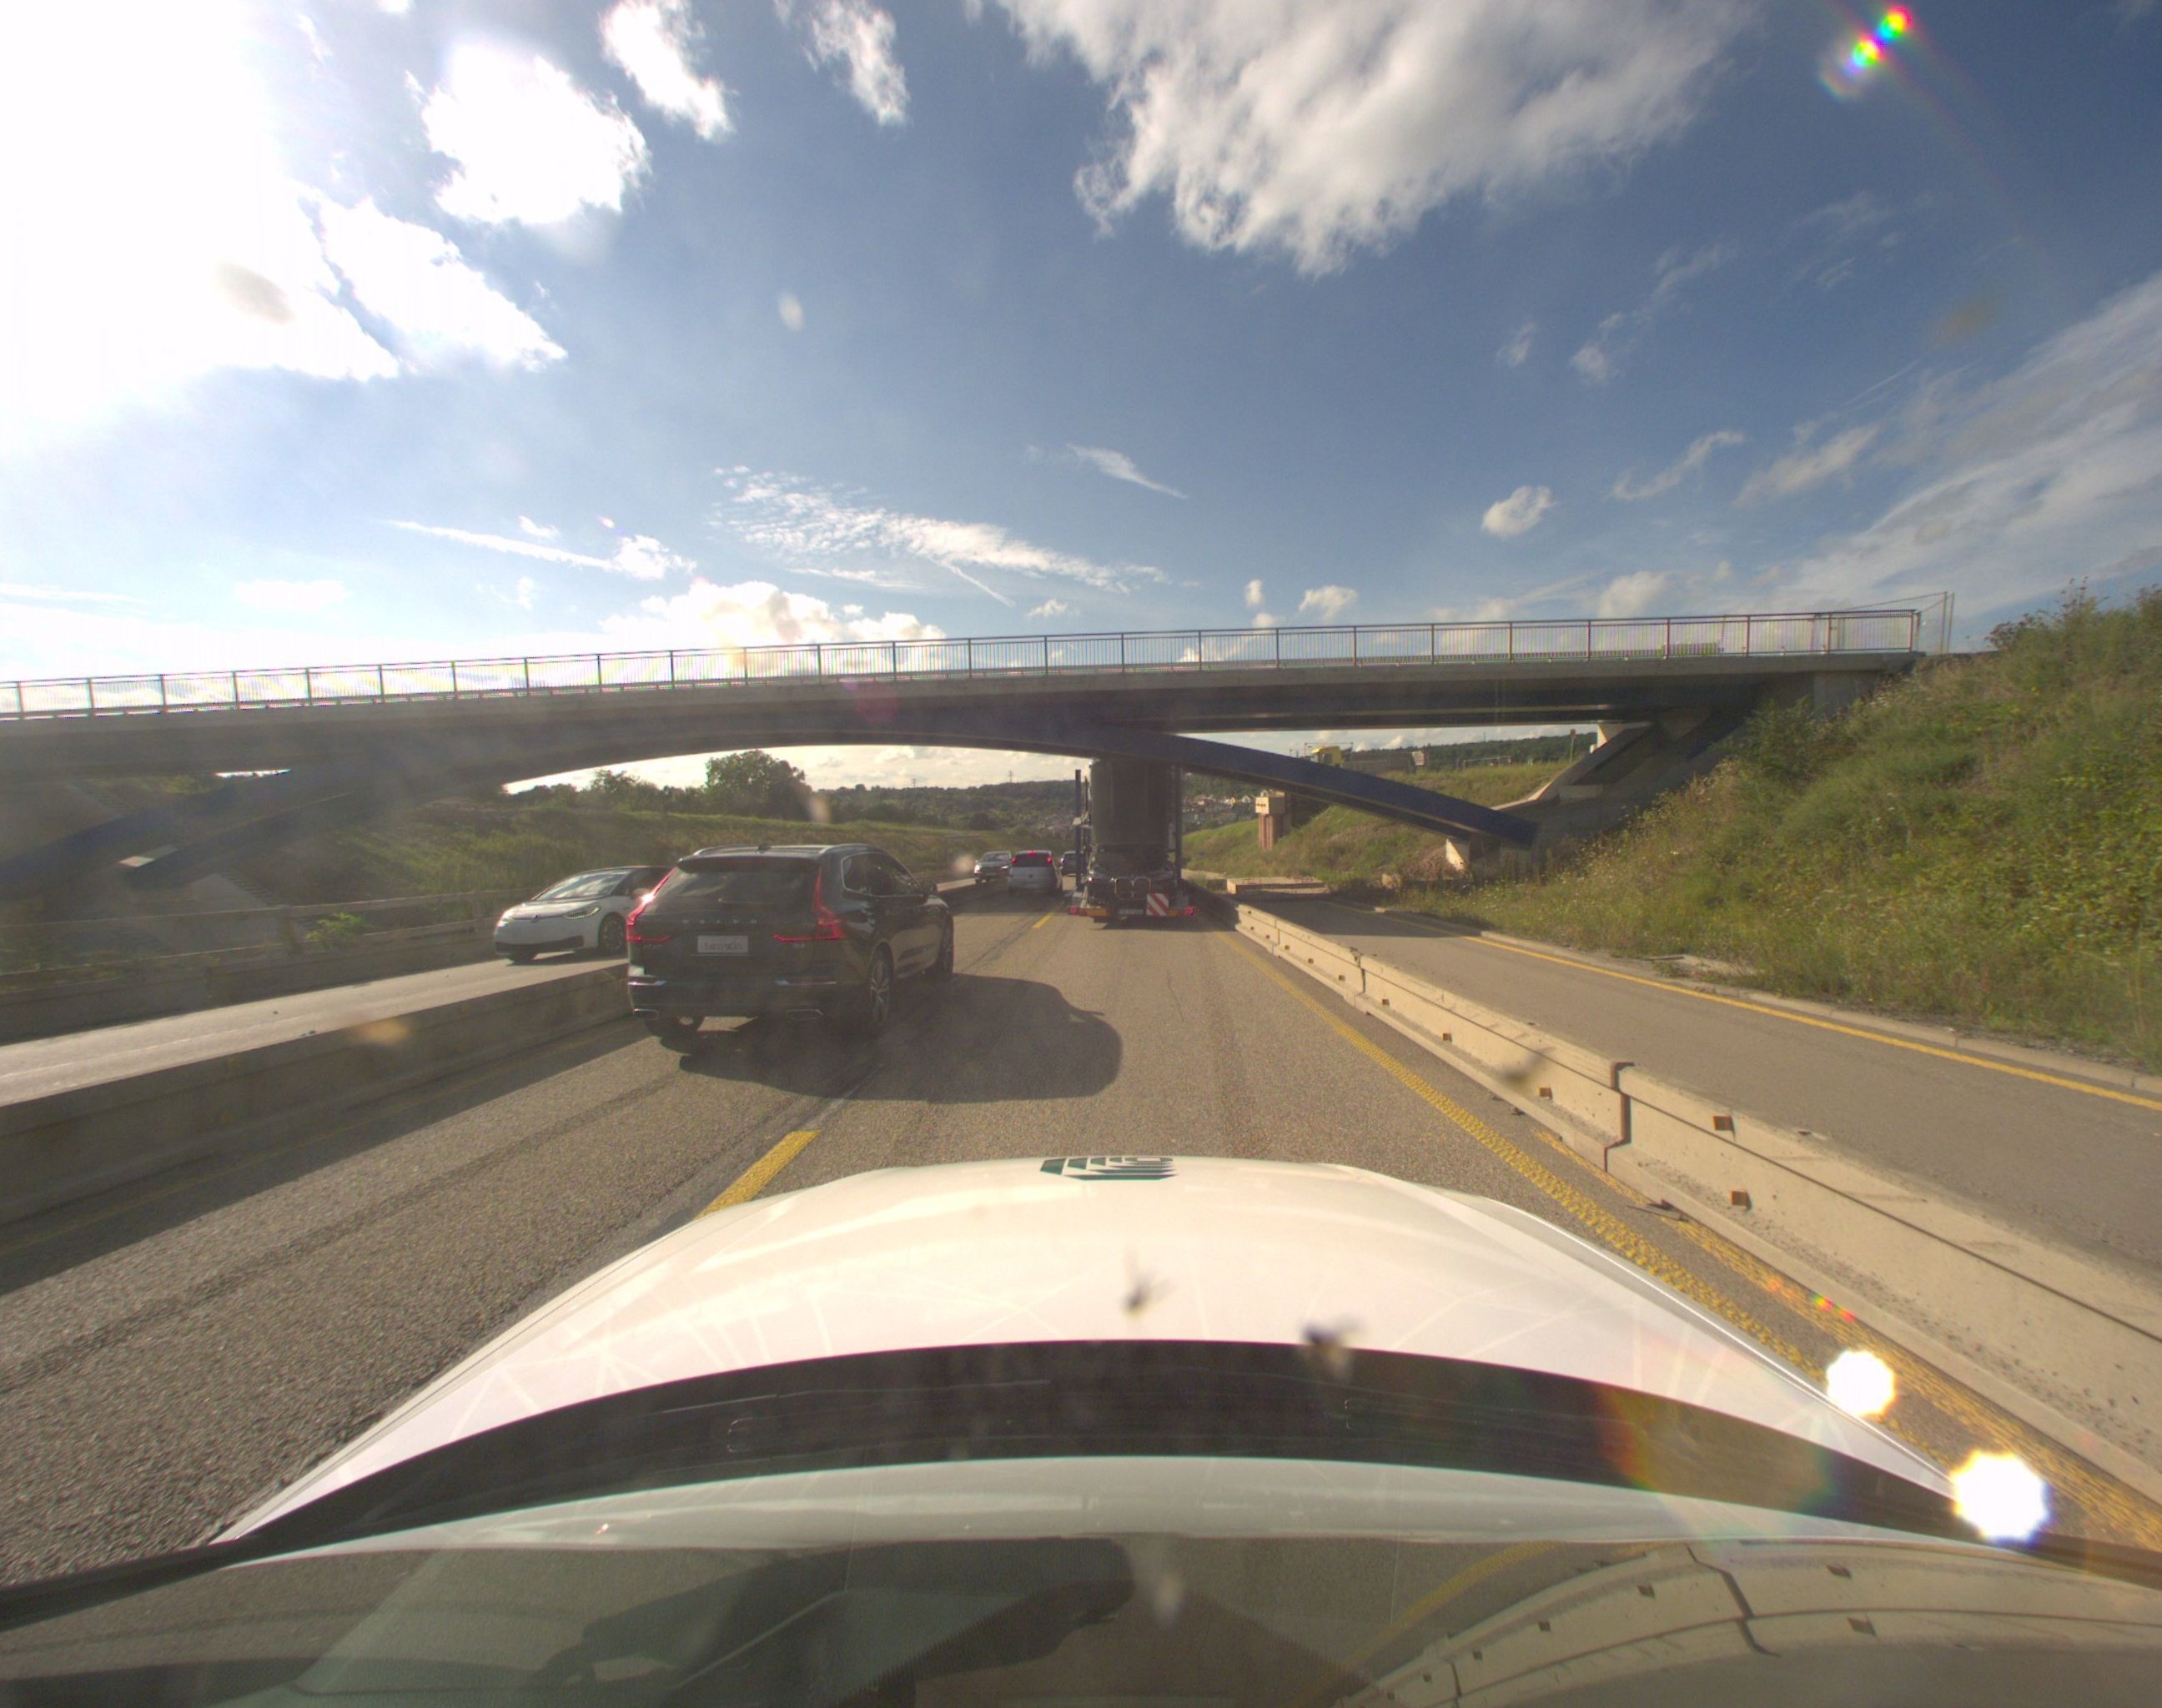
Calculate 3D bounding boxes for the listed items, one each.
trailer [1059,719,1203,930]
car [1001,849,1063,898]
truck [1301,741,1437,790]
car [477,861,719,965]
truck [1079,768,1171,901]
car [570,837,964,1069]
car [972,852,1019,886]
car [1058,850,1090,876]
[{"bbox_3d":[1.192,-0.579,21.499,2.697,4.029,11.425,-1,0,2],"label":"trailer"},{"bbox_3d":[-1.706,0.648,29.822,1.789,1.596,4.745,-1,0,2],"label":"car"},{"bbox_3d":[21.702,-6.663,61.782,9.226,3.228,2.962,-1,0,2],"label":"truck"},{"bbox_3d":[-8.785,0.979,15.321,1.816,1.492,4.220,-4,0,2],"label":"car"},{"bbox_3d":[1.434,-0.580,27.235,2.667,3.922,6.030,-1,0,2],"label":"truck"},{"bbox_3d":[-2.610,0.698,8.242,1.986,1.625,4.752,-1,0,2],"label":"car"},{"bbox_3d":[-4.445,0.738,42.873,1.816,1.563,4.220,-4,0,2],"label":"car"},{"bbox_3d":[-0.383,0.553,51.147,1.789,1.530,4.297,-1,0,2],"label":"car"}]
